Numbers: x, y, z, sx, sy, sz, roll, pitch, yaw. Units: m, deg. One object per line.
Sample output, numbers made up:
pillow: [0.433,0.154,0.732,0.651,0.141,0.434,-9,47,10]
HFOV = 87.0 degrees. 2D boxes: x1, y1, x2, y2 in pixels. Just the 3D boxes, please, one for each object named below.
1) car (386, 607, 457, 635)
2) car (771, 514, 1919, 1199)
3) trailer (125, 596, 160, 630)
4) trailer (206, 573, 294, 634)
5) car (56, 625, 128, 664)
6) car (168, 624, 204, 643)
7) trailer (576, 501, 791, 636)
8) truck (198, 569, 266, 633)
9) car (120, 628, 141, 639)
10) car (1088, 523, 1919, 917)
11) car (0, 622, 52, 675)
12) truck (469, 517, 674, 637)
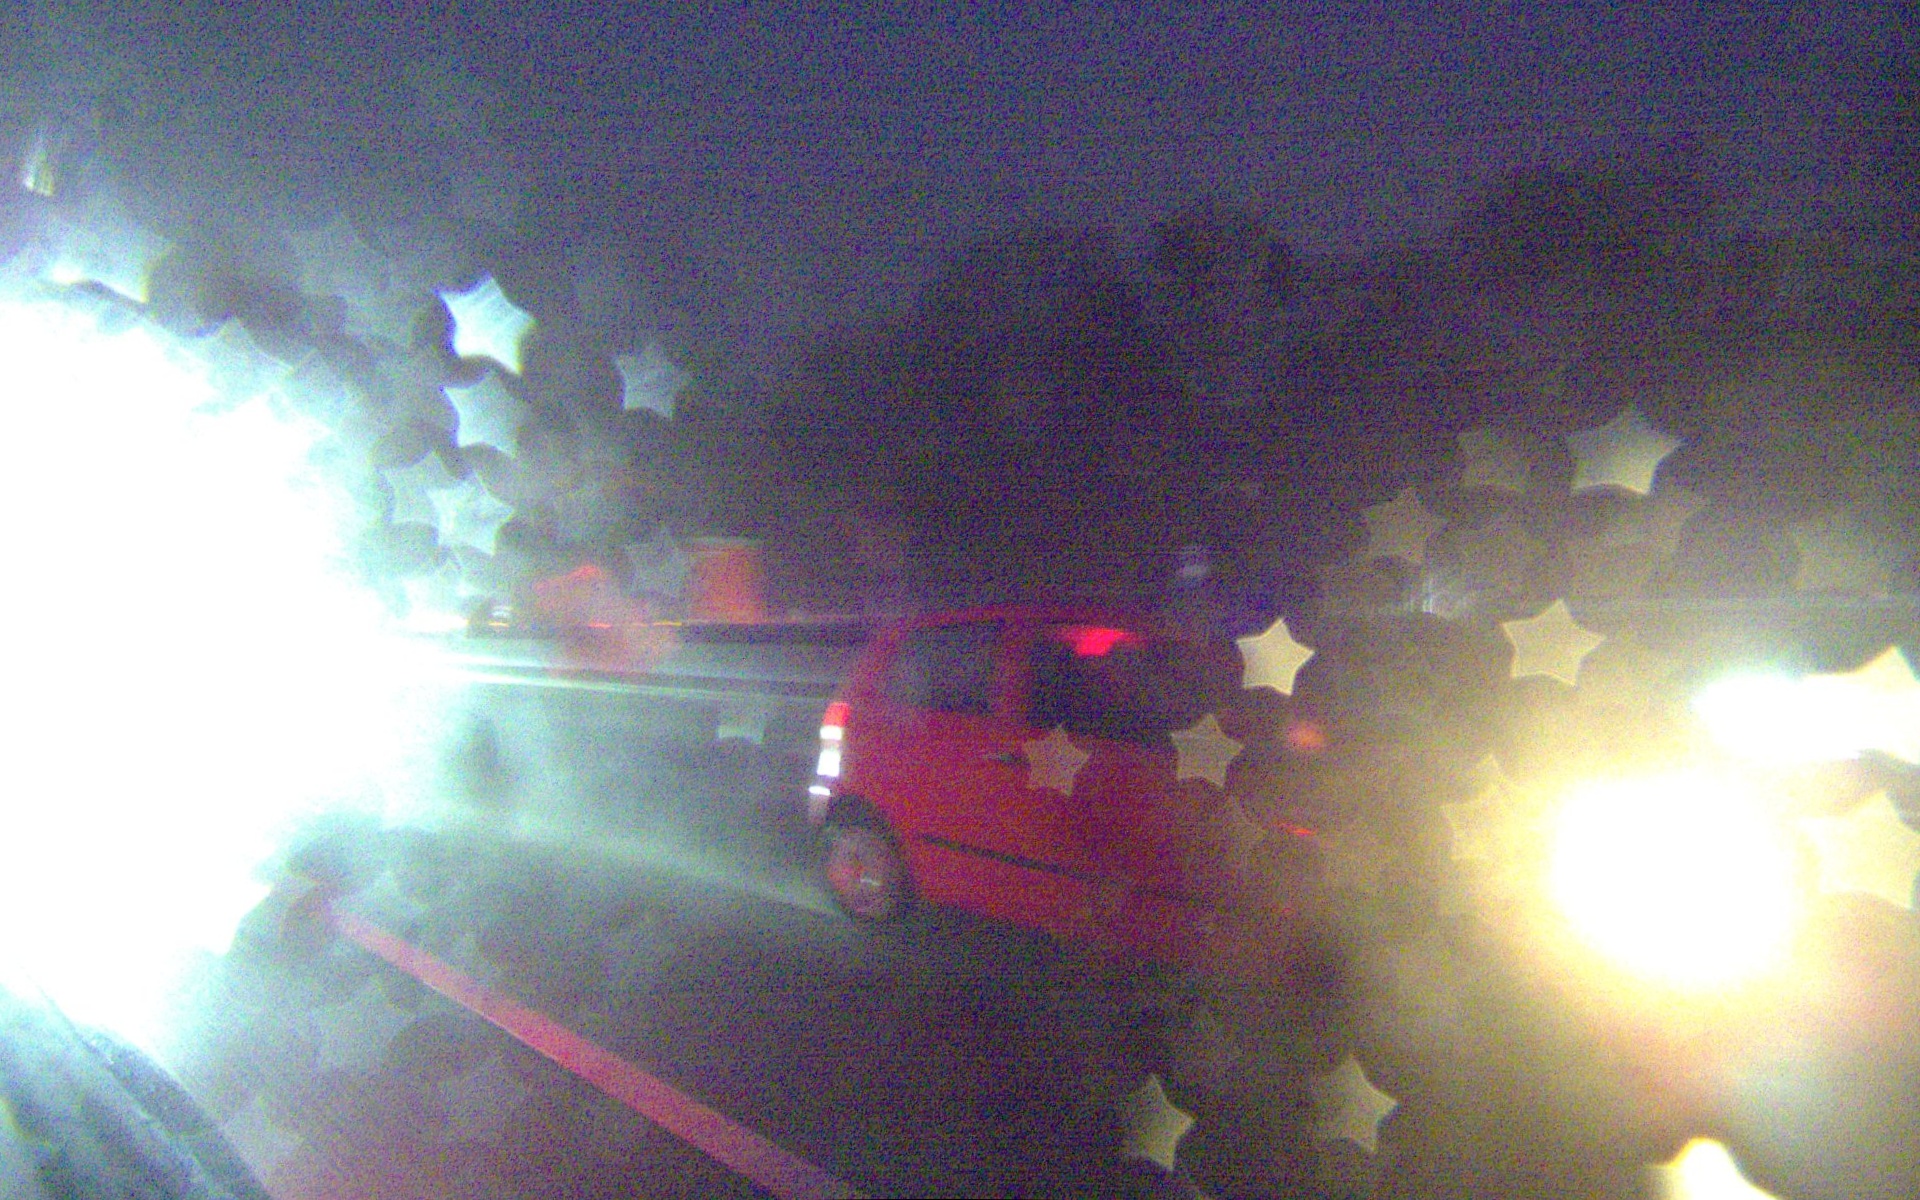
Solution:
car: [-27.104,1.063,50.858,4.270,1.230,1.689,-1,2,41]
car: [1.319,0.641,4.115,4.231,1.606,1.896,-1,0,41]
trailer: [-160.793,2.608,198.938,3.424,6.172,14.416,-6,3,-45]
trailer: [-67.683,0.376,96.262,13.748,5.486,4.122,-1,0,43]
car: [-40.790,2.041,47.512,2.278,1.621,3.873,-2,0,-45]
car: [-68.458,2.960,89.512,5.017,1.491,1.688,-1,2,43]
trailer: [-11.991,-1.260,43.478,8.991,5.178,4.296,-2,3,41]
truck: [-72.579,0.125,100.882,7.345,6.174,4.122,-1,0,43]
car: [-128.872,5.158,157.251,4.253,1.655,1.972,-1,0,43]
car: [3.452,0.565,6.737,4.885,1.790,1.972,-1,0,42]
car: [-32.465,1.622,34.602,1.970,1.689,4.003,-2,0,-44]
truck: [-19.295,-1.022,49.778,11.023,5.178,4.297,-2,3,41]
